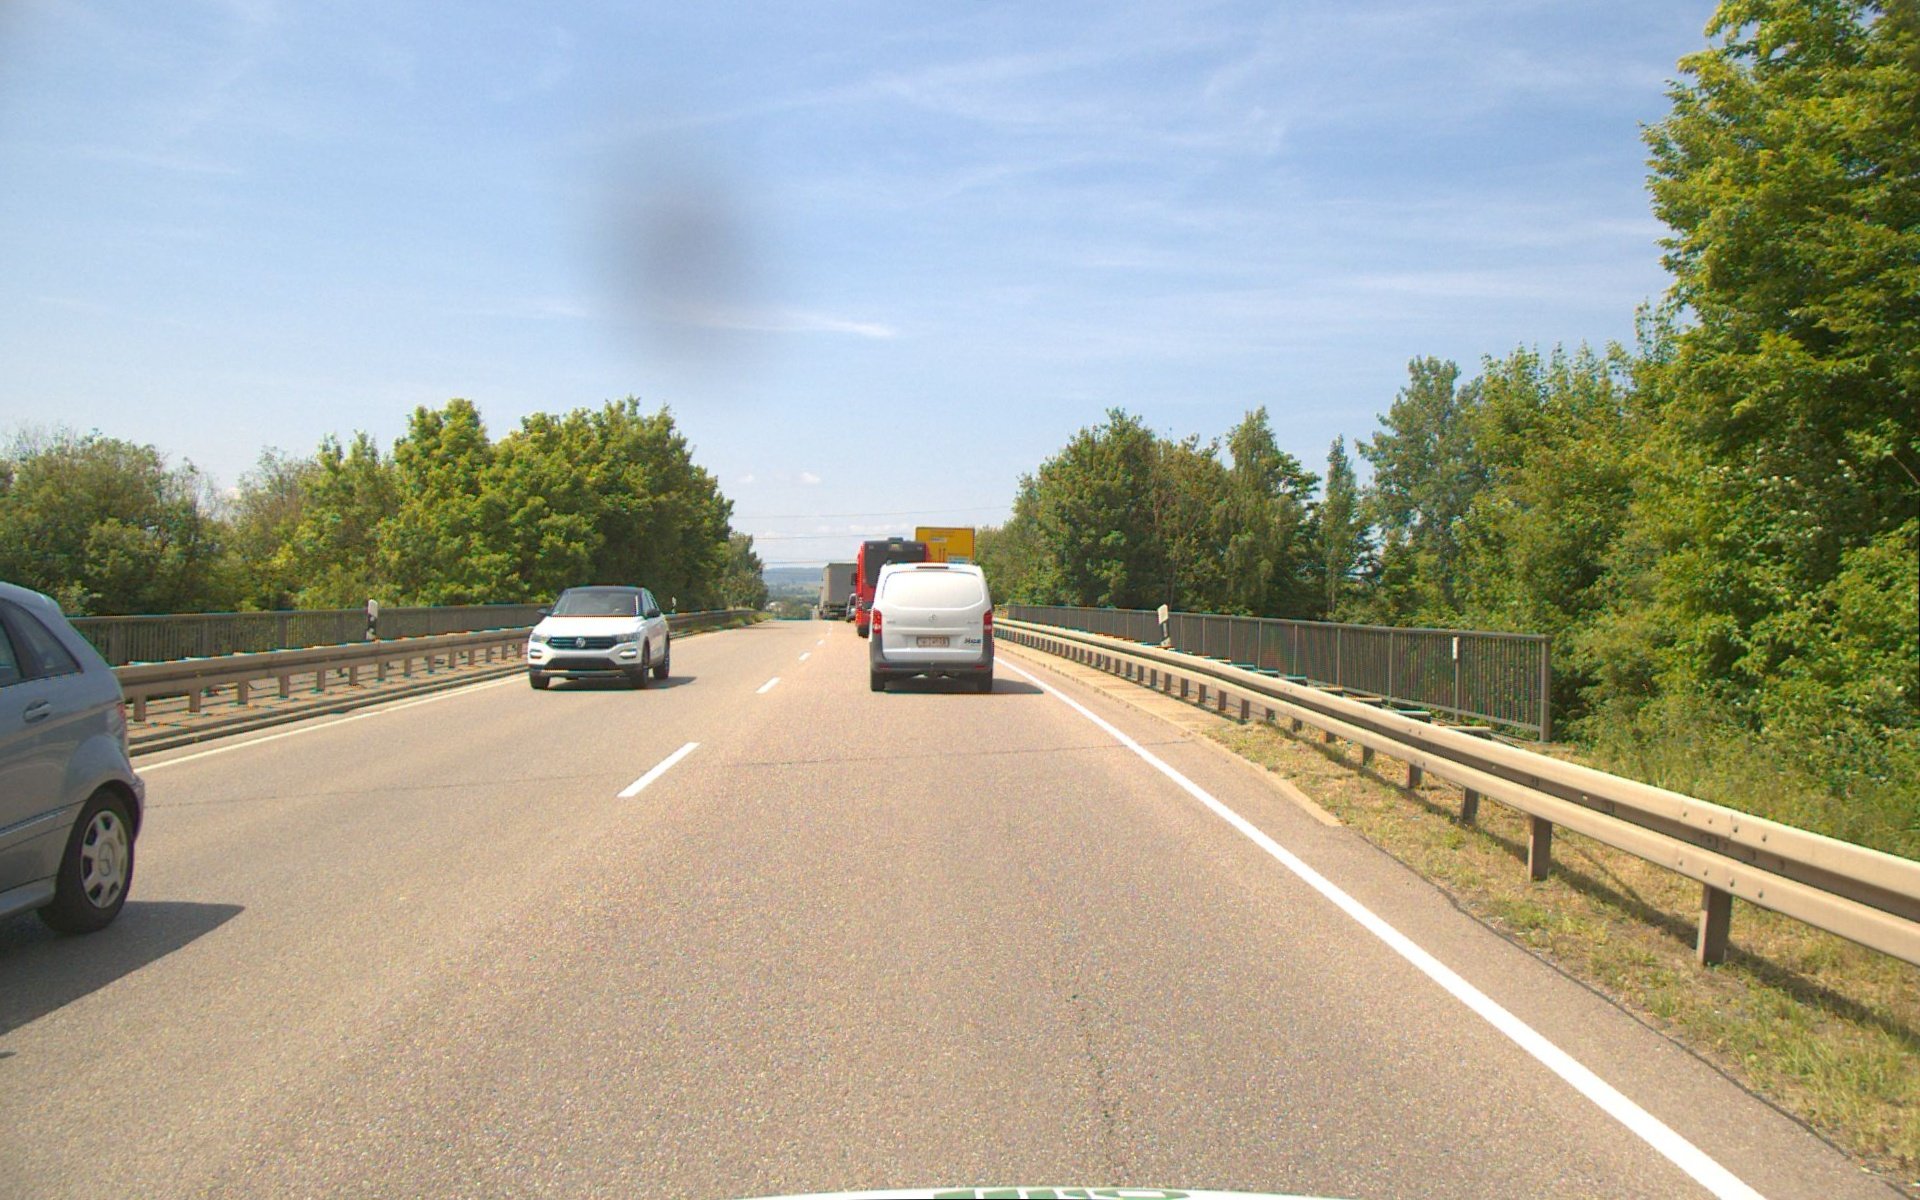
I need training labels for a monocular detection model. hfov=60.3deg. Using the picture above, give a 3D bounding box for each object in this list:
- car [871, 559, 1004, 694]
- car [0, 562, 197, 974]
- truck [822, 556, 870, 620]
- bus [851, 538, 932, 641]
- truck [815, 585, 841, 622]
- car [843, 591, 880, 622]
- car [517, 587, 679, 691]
[{"bbox_3d":[-0.406,0.363,25.760,1.885,1.922,3.998,1,0,-3],"label":"car"},{"bbox_3d":[-4.478,0.650,5.894,1.626,1.578,4.336,0,0,-2],"label":"car"},{"bbox_3d":[-8.657,-0.903,124.846,3.420,4.500,14.889,0,0,-4],"label":"truck"},{"bbox_3d":[-2.621,-0.388,61.602,2.692,3.412,13.213,0,0,-3],"label":"bus"},{"bbox_3d":[-16.804,0.391,209.877,2.976,4.532,14.885,0,0,-6],"label":"truck"},{"bbox_3d":[-6.107,0.415,102.181,1.956,1.847,3.992,1,0,-9],"label":"car"},{"bbox_3d":[-5.774,0.565,26.898,1.842,1.538,4.541,0,0,-3],"label":"car"}]
